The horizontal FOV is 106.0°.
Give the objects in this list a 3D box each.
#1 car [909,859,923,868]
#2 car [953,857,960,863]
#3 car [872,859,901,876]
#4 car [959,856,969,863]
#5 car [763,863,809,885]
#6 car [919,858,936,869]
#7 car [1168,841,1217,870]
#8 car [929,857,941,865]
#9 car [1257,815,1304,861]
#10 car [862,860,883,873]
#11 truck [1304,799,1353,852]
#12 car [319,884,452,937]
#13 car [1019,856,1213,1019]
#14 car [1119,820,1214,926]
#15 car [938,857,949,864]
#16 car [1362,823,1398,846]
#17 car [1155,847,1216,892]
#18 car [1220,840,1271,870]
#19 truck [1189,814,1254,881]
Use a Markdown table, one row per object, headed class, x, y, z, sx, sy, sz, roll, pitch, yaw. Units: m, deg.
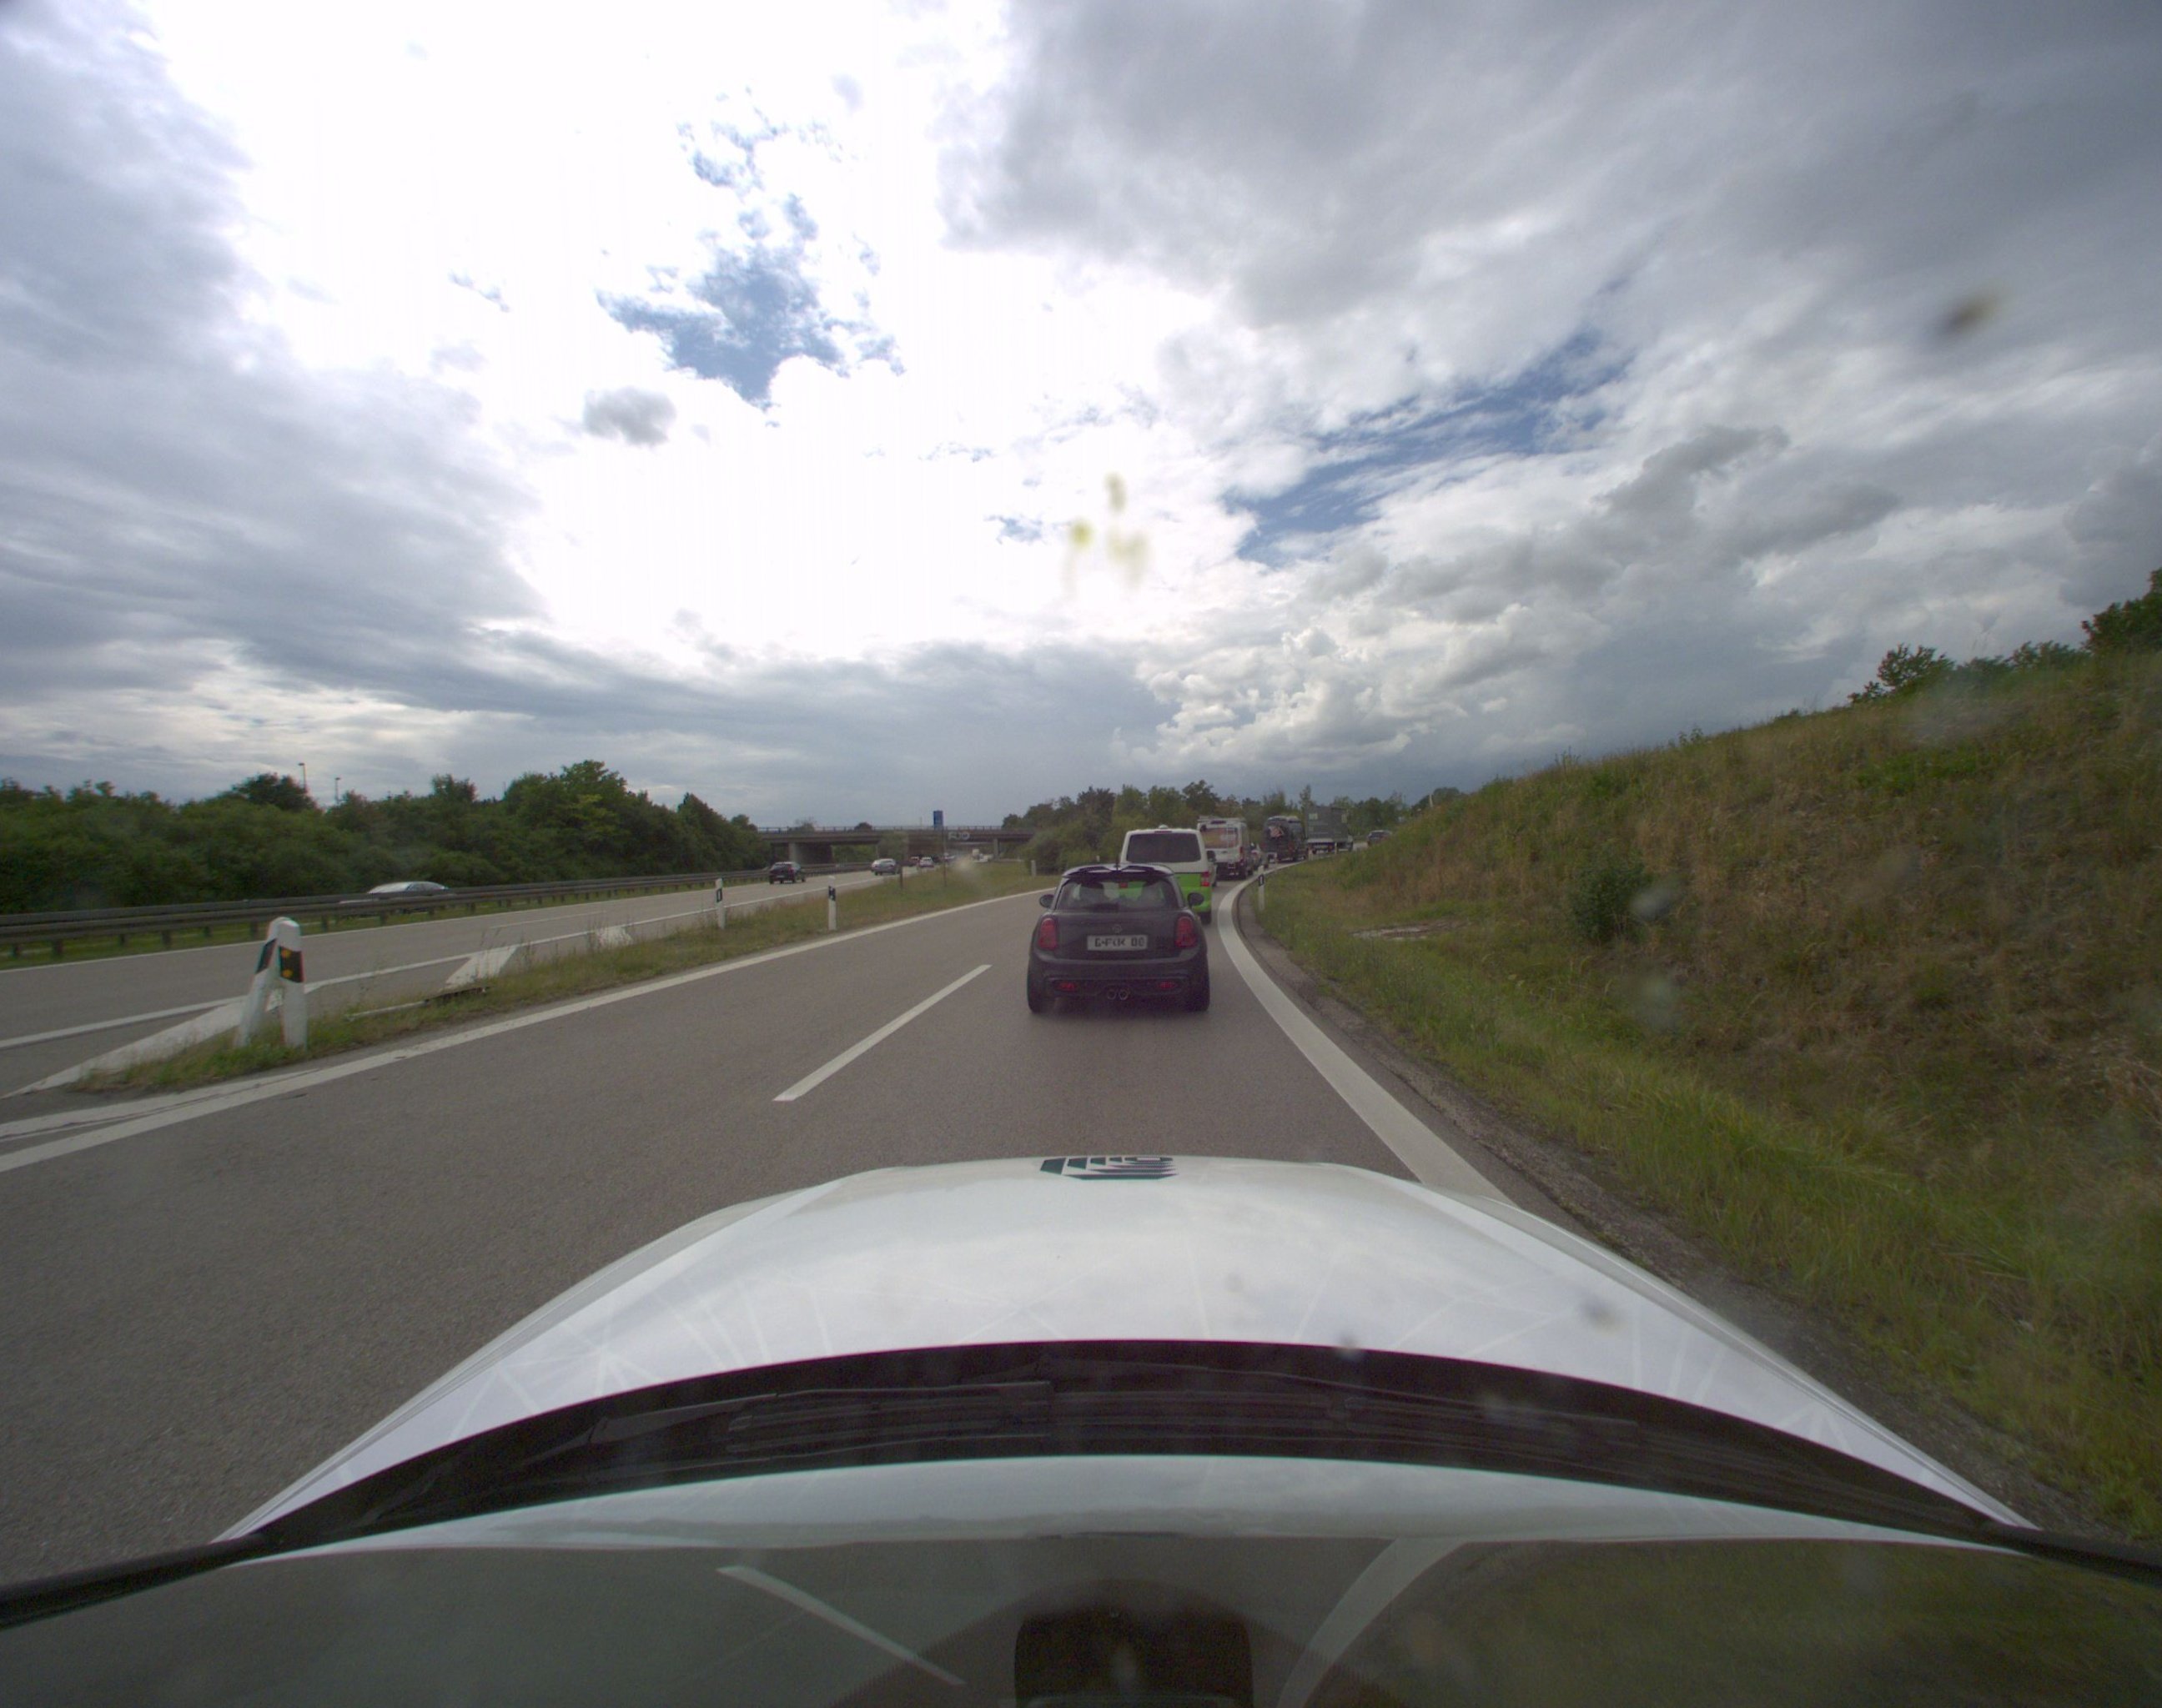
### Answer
| class | x | y | z | sx | sy | sz | roll | pitch | yaw |
| --- | --- | --- | --- | --- | --- | --- | --- | --- | --- |
| car | -27.297 | 1.512 | 134.865 | 1.778 | 1.398 | 4.295 | -2 | 0 | -7 |
| car | -37.118 | 1.784 | 242.974 | 2.067 | 2.014 | 3.990 | 0 | -1 | -7 |
| car | -17.487 | 1.171 | 73.488 | 1.777 | 1.398 | 4.543 | -2 | 0 | -4 |
| car | -29.104 | 1.418 | 203.209 | 2.091 | 1.670 | 4.300 | -2 | 0 | -4 |
| car | -20.106 | 1.333 | 55.680 | 1.777 | 1.398 | 4.299 | -2 | 0 | -4 |
| car | -21.440 | 1.358 | 113.578 | 1.776 | 1.398 | 4.024 | -2 | 0 | -4 |
| car | 6.466 | 0.090 | 46.974 | 1.780 | 1.556 | 3.983 | -2 | -1 | 23 |
| car | -31.336 | 1.463 | 175.022 | 2.091 | 1.670 | 4.300 | -2 | 0 | -4 |
| car | 12.669 | -0.986 | 51.520 | 2.086 | 2.796 | 4.023 | -1 | 0 | 25 |
| car | -24.243 | 1.455 | 94.885 | 1.778 | 1.398 | 4.296 | -2 | 0 | -7 |
| truck | 19.584 | -2.153 | 64.155 | 2.207 | 3.906 | 6.054 | -1 | -1 | 31 |
| car | -26.643 | 2.106 | 31.392 | 1.992 | 1.684 | 3.989 | -2 | 0 | -8 |
| car | 0.401 | 0.761 | 9.195 | 1.720 | 1.413 | 3.728 | -1 | 0 | 3 |
| car | 1.949 | 0.364 | 17.616 | 1.774 | 2.013 | 4.010 | -1 | 0 | 9 |
| car | -33.732 | 1.528 | 200.356 | 2.155 | 1.670 | 4.300 | -2 | 0 | -4 |
| car | 27.585 | -1.777 | 75.069 | 1.974 | 2.014 | 4.025 | -1 | -1 | 37 |
| car | 3.650 | 0.492 | 27.967 | 1.751 | 1.398 | 3.737 | -2 | 0 | 11 |
| car | 8.847 | 0.045 | 43.556 | 1.850 | 1.510 | 4.022 | -2 | 0 | 23 |
| truck | 6.229 | -0.328 | 35.590 | 2.162 | 2.658 | 5.131 | -2 | 1 | 16 |
